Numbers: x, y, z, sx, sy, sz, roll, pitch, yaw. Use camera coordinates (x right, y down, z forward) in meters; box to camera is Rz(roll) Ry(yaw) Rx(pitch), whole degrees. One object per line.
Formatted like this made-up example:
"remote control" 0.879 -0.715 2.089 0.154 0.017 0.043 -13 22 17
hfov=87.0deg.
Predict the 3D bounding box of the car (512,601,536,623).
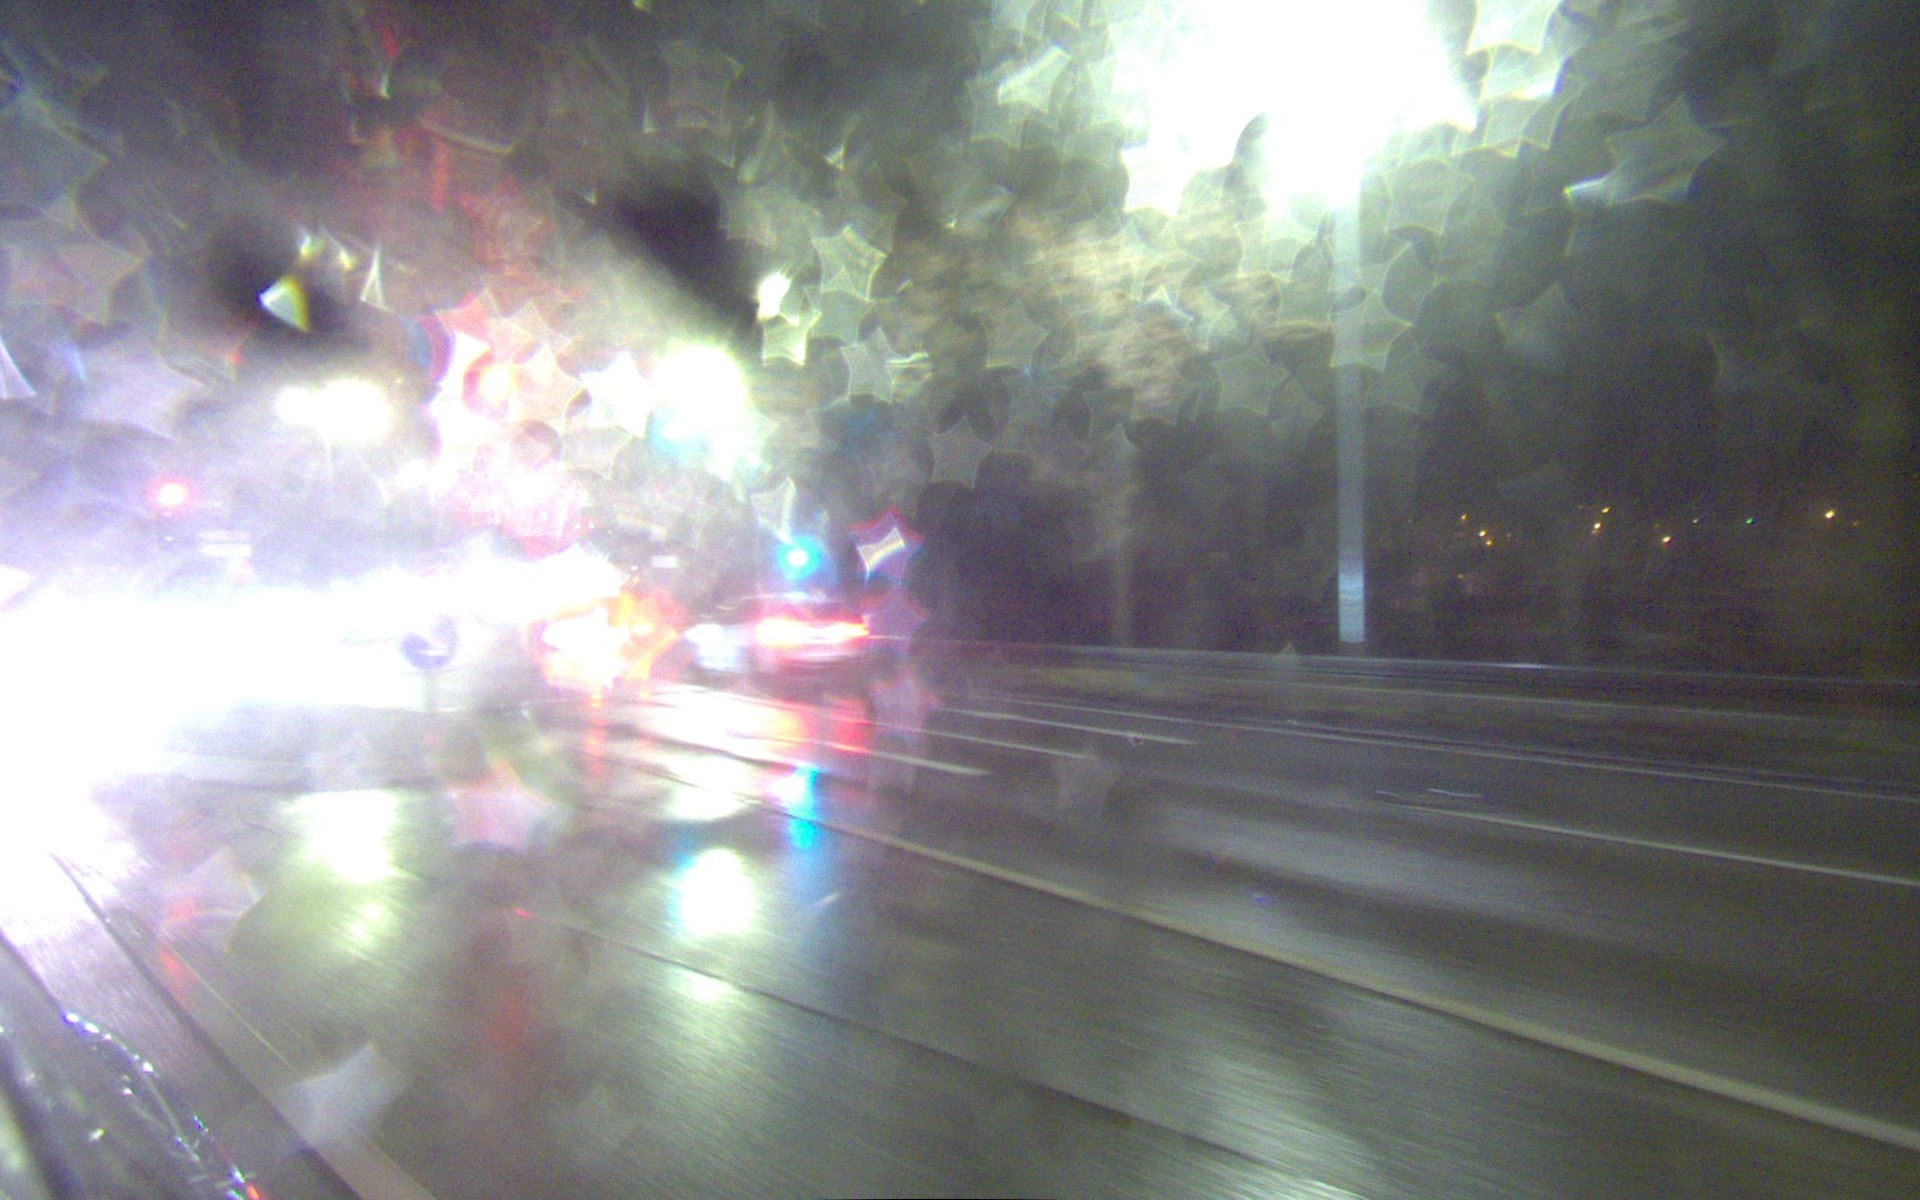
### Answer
"car" -38.724 1.072 89.987 1.714 1.870 4.013 -2 0 -20

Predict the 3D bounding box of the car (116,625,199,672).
"car" -38.334 2.272 48.447 1.806 2.029 4.012 -2 0 -18

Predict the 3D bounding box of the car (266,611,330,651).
"car" -36.288 1.669 55.548 1.966 2.029 4.013 -2 0 -19

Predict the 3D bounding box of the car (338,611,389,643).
"car" -39.992 1.760 67.981 1.839 2.029 4.011 -2 0 -14

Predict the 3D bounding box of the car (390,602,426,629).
"car" -43.155 1.222 79.168 1.838 2.029 4.013 -2 0 -20

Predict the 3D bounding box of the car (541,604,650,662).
"car" -11.151 0.981 30.766 1.959 1.617 4.845 0 -2 -35

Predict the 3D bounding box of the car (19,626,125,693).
"car" -32.716 2.144 37.413 1.838 2.028 4.014 -2 3 -25

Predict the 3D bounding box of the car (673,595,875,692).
"car" -3.704 0.790 19.403 1.959 1.617 4.845 0 -2 -35

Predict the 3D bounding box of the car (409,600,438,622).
"car" -52.014 1.072 98.201 1.838 2.029 4.013 -2 0 -19

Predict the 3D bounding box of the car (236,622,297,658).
"car" -42.085 2.383 61.481 1.966 2.029 4.012 -2 0 -18

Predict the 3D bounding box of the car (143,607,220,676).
"car" -30.049 1.543 39.191 1.968 2.027 4.011 -7 8 -34

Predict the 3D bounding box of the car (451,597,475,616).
"car" -53.886 0.702 109.691 1.838 2.029 4.013 -2 0 -19

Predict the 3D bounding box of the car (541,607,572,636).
"car" -30.110 1.568 75.561 1.965 2.029 4.013 -2 0 -20

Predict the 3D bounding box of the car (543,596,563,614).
"car" -42.722 0.551 106.285 1.714 1.870 4.013 -2 0 -20

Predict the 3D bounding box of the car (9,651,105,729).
"car" -22.574 2.194 25.397 1.284 1.540 3.054 -4 4 -33
